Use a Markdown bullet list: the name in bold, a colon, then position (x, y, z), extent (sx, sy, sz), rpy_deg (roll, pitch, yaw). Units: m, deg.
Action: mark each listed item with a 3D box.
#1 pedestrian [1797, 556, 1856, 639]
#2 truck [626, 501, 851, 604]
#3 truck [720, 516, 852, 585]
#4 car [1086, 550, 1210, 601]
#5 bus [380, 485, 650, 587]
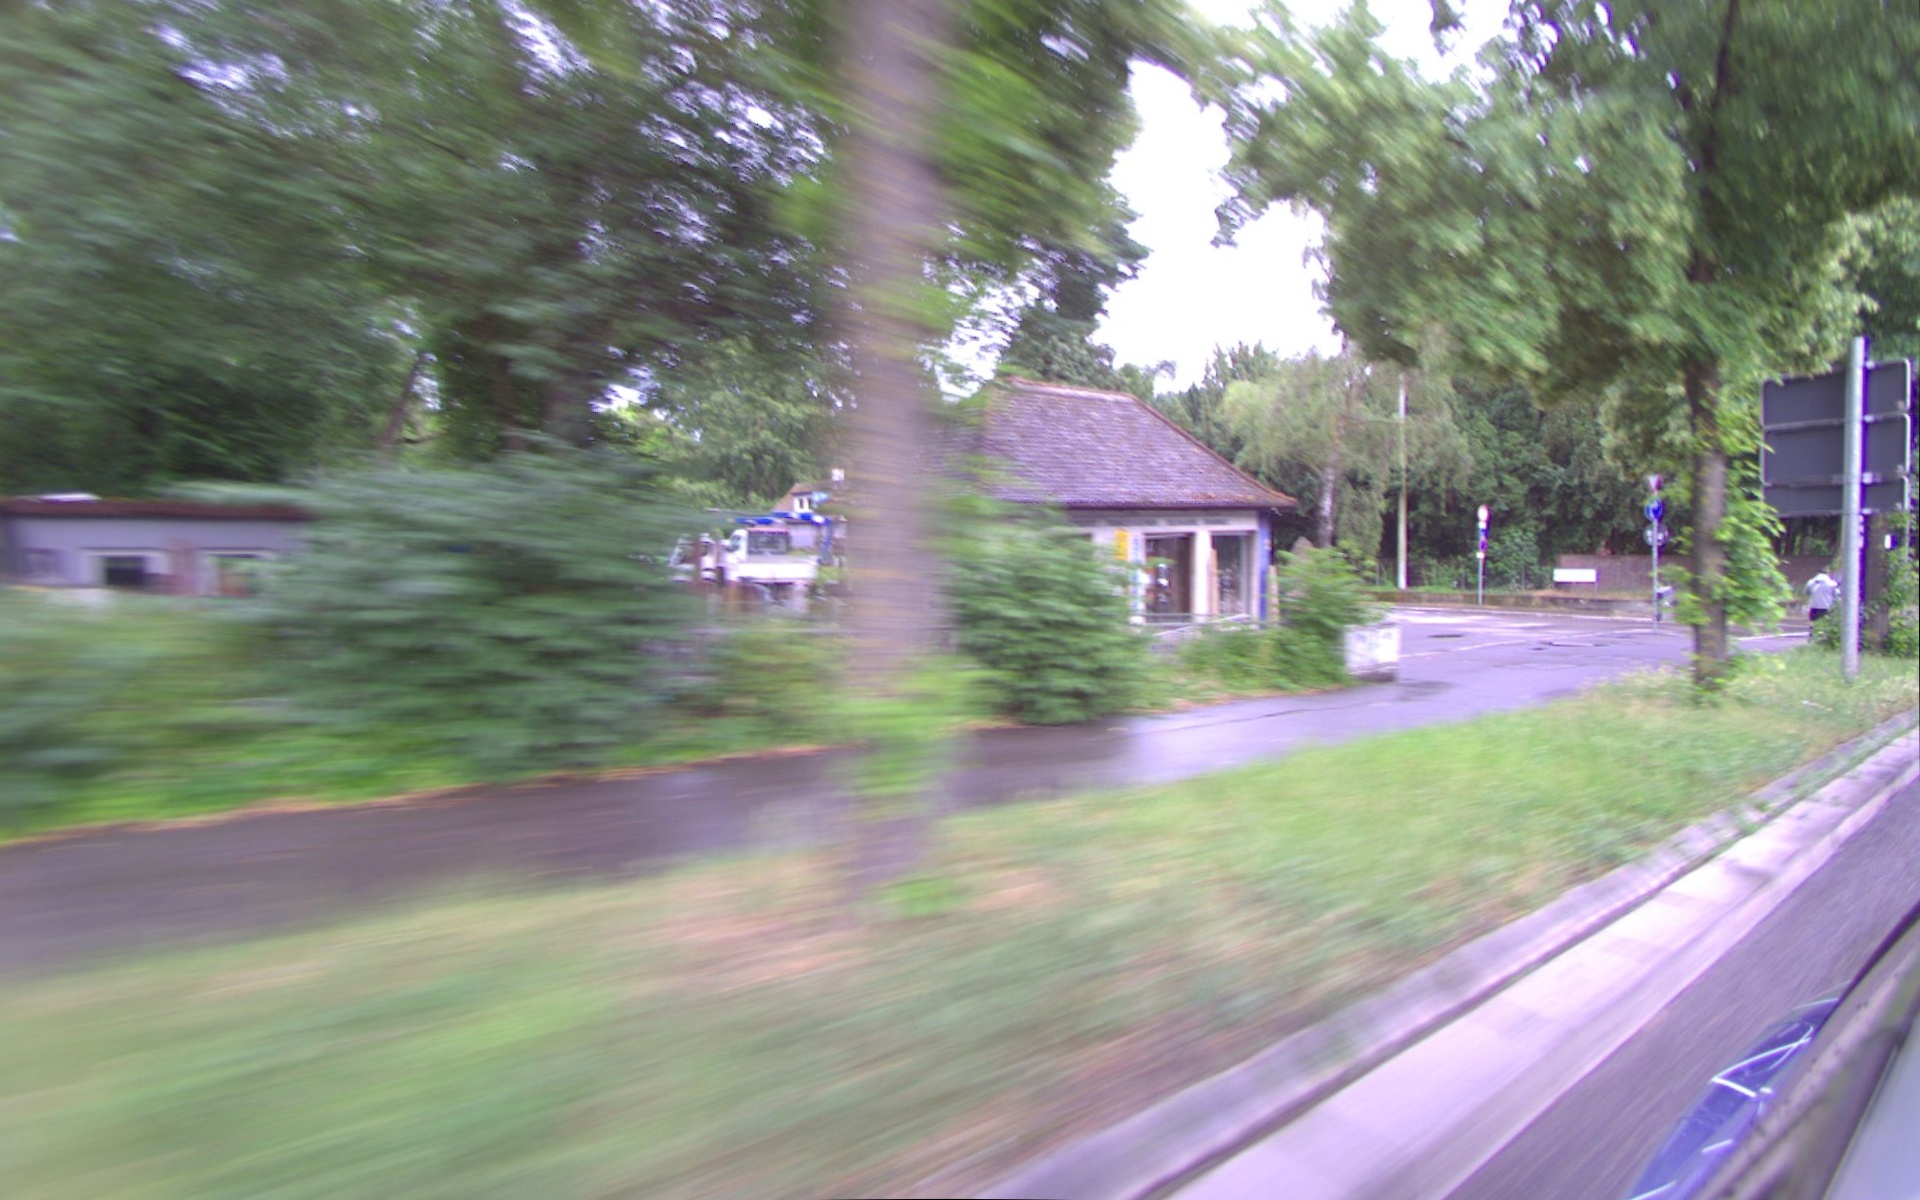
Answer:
- **pedestrian**: position (20.163, -0.068, 23.552), extent (0.723, 1.877, 0.858), rpy_deg (0, 2, -36)
- **truck**: position (-6.696, -1.382, 30.572), extent (6.466, 2.903, 2.065), rpy_deg (0, 1, -18)
- **truck**: position (-6.491, -1.741, 37.368), extent (2.185, 2.208, 5.398), rpy_deg (0, -1, -43)
- **car**: position (6.393, -0.863, 34.641), extent (3.684, 1.597, 1.838), rpy_deg (1, 3, -11)
- **bus**: position (-13.014, -1.769, 29.943), extent (7.033, 2.734, 2.259), rpy_deg (-1, 2, -36)
